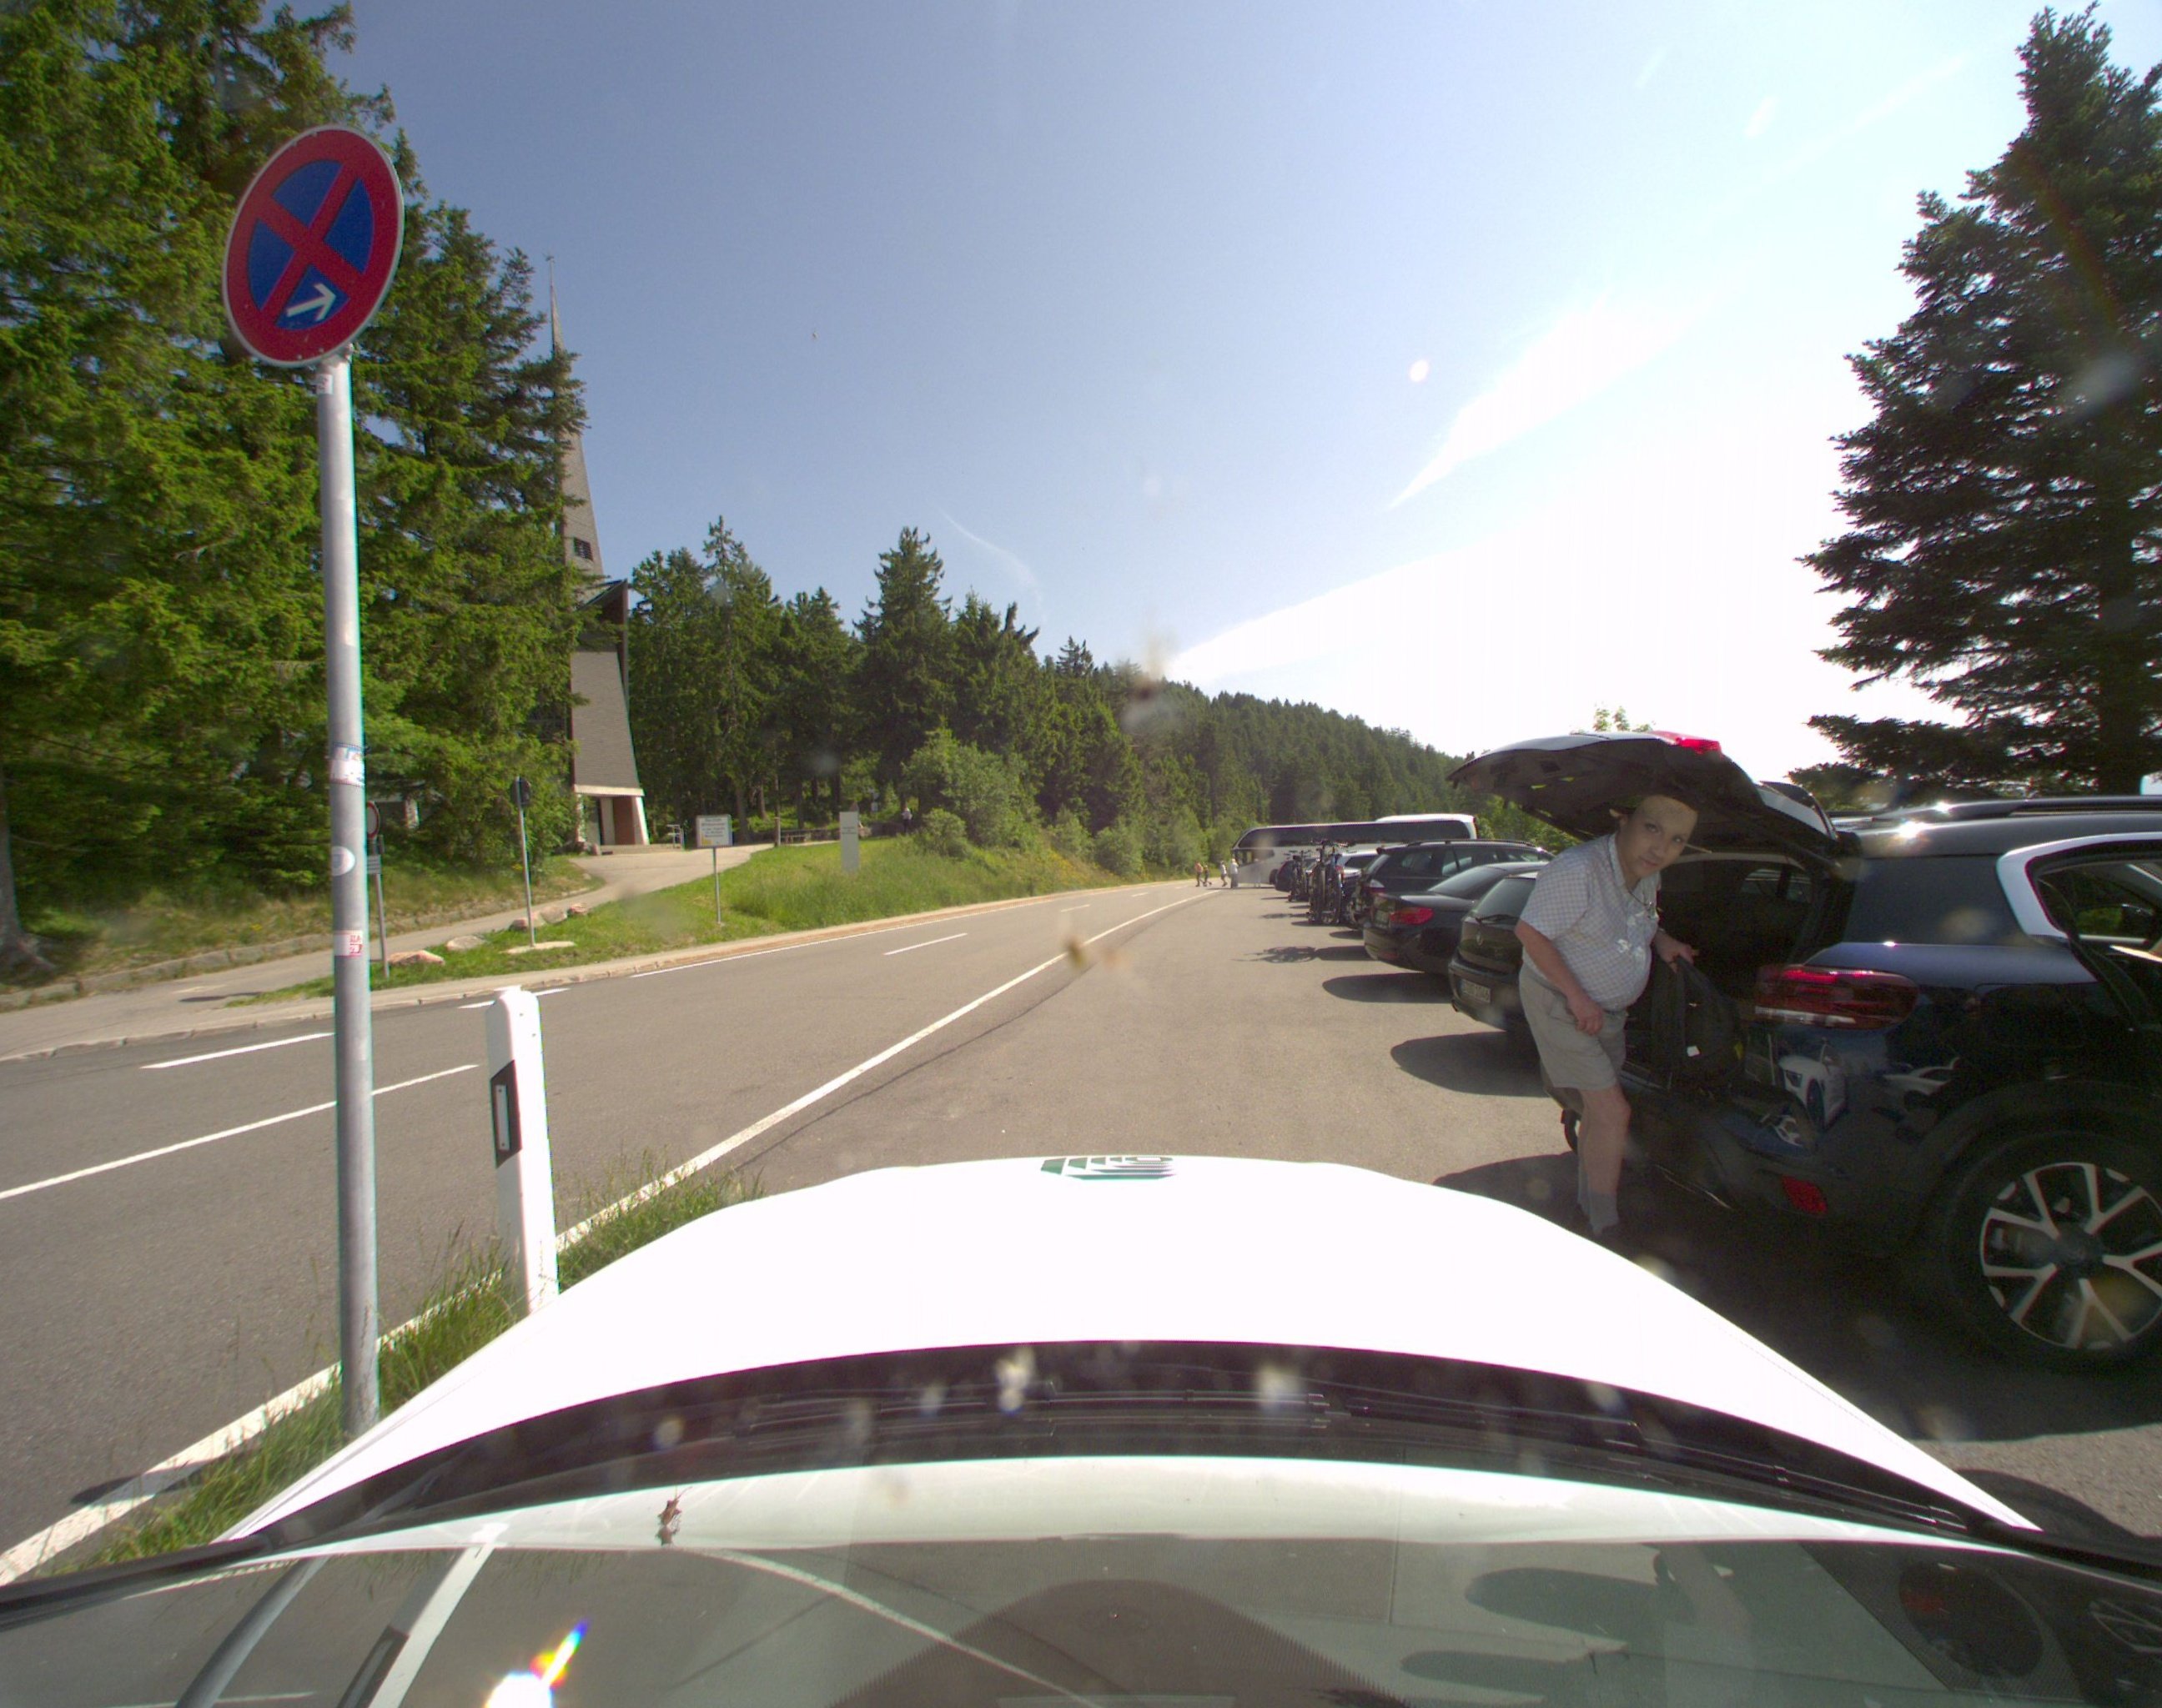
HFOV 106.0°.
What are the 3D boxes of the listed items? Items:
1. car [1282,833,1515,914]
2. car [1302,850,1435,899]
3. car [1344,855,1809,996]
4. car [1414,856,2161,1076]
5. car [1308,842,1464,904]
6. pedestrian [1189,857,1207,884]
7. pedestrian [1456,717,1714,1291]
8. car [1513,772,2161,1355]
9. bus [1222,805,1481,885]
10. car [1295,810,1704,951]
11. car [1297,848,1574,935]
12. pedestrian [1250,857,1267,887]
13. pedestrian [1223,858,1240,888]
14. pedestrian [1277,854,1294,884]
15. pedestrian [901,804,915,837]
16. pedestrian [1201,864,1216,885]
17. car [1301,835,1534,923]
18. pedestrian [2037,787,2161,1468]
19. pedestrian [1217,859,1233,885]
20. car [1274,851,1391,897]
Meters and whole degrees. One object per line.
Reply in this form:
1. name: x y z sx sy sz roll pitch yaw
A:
1. car: 7.594 0.485 20.020 5.001 1.651 2.054 -3 -1 11
2. car: 9.476 0.681 27.110 3.961 1.398 1.625 -3 -1 11
3. car: 5.186 0.720 9.001 4.062 1.376 1.705 0 -1 5
4. car: 4.840 0.722 6.029 4.065 1.376 1.703 0 -1 2
5. car: 8.731 0.543 23.612 3.961 1.554 1.665 -3 -1 11
6. pedestrian: 7.490 1.058 52.342 0.853 1.683 0.867 -3 -1 -8
7. pedestrian: 1.969 0.477 3.166 0.728 1.870 0.763 0 2 42
8. car: 4.296 0.616 3.102 4.322 1.626 1.873 1 -1 6
9. bus: 14.636 -0.364 44.927 12.980 3.533 3.060 -3 -1 21
10. car: 5.710 0.399 11.844 4.914 1.695 1.952 -3 -1 13
11. car: 6.132 0.648 14.597 4.216 1.269 1.844 -3 -1 11
12. pedestrian: 9.669 0.994 44.412 0.764 1.585 0.776 -3 -1 18
13. pedestrian: 8.318 1.029 44.928 0.764 1.585 0.776 -3 -1 18
14. pedestrian: 11.149 0.789 44.331 0.763 1.585 0.776 -3 -1 19
15. pedestrian: -10.192 -1.982 48.037 0.681 1.878 0.539 -3 -1 -13
16. pedestrian: 8.065 1.287 51.537 0.733 1.279 0.781 -3 -1 -7
17. car: 6.921 0.525 17.191 4.216 1.554 1.844 -3 -1 11
18. pedestrian: 2.907 0.644 1.876 0.711 1.613 0.537 -1 -2 2
19. pedestrian: 9.033 1.102 51.118 0.849 1.585 0.820 -3 -1 8
20. car: 9.282 0.737 30.383 3.961 1.449 1.867 -3 -1 11
